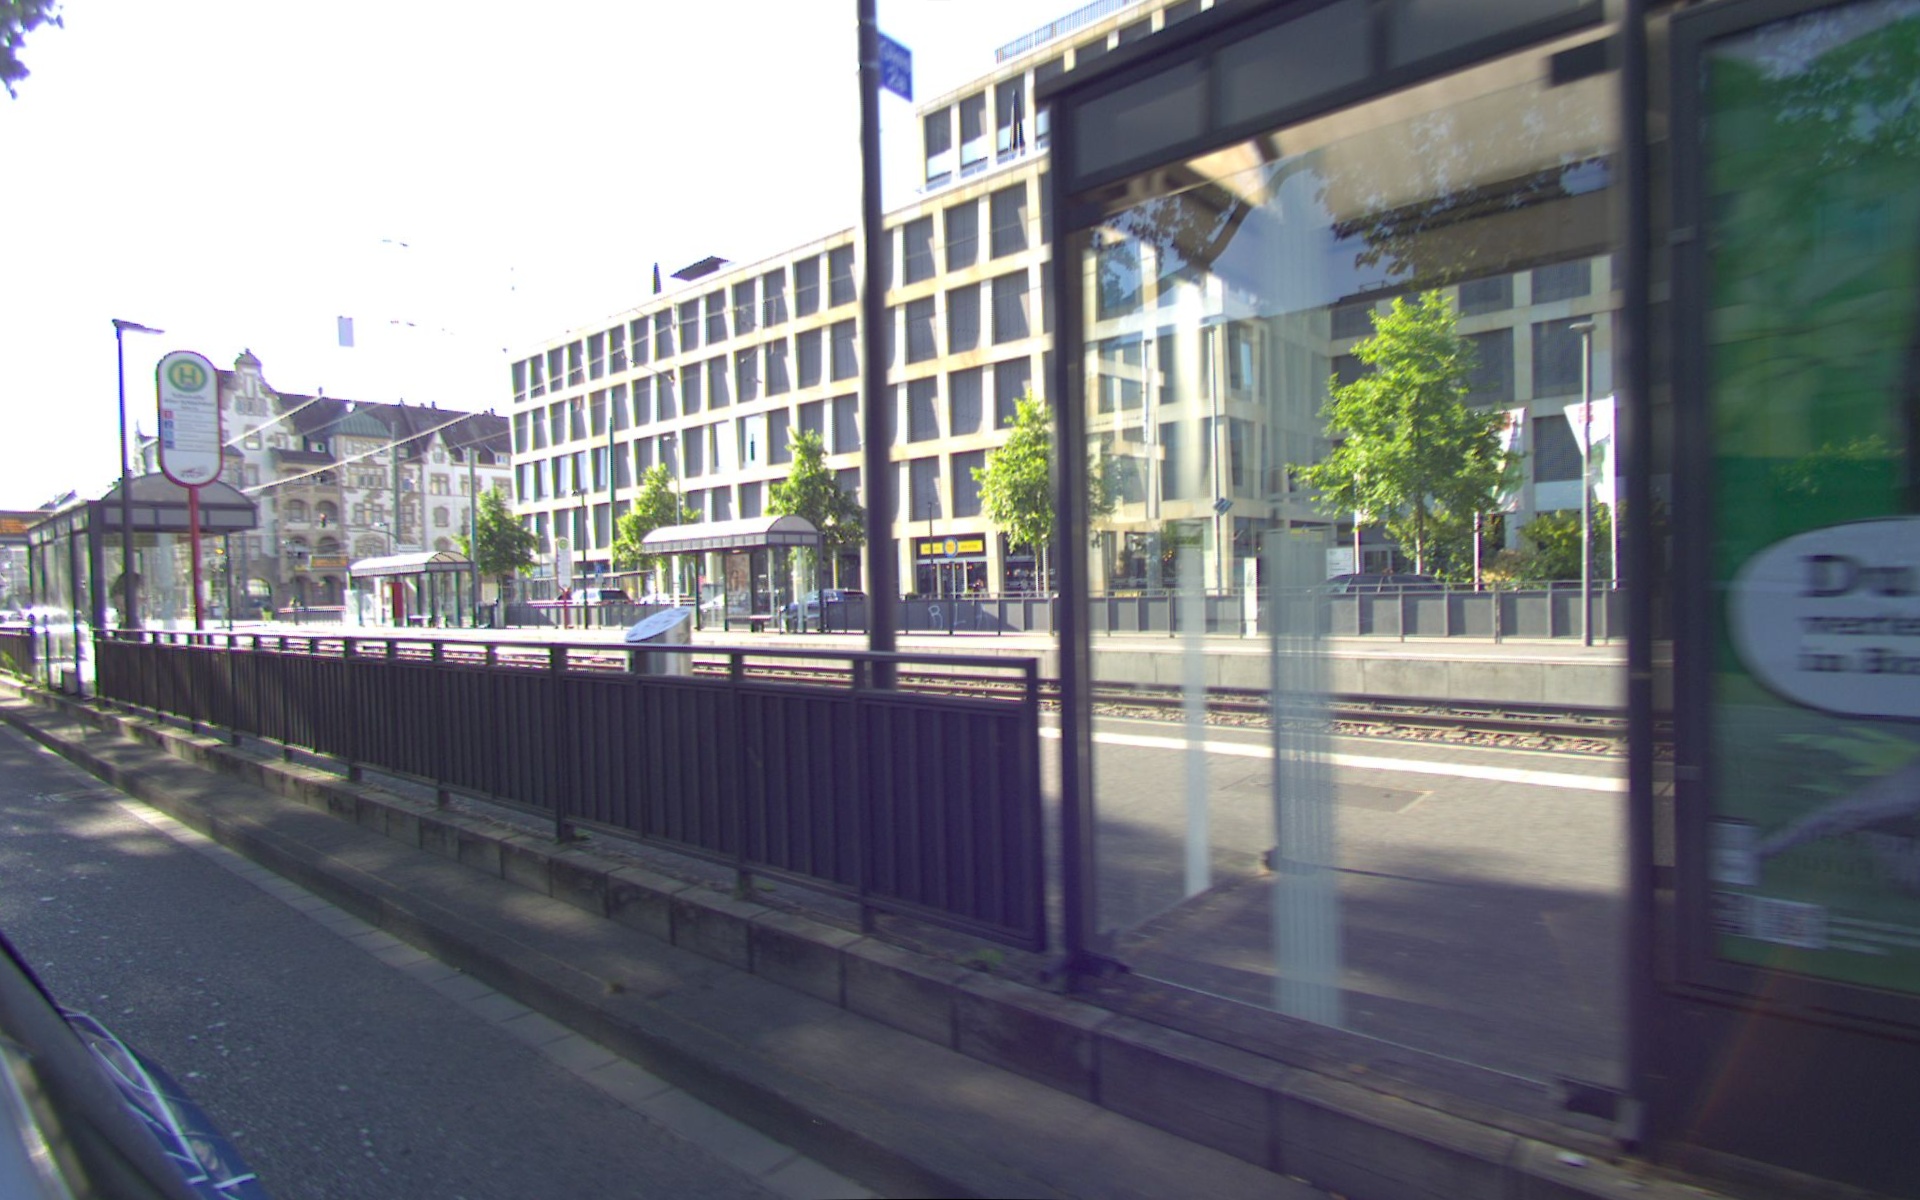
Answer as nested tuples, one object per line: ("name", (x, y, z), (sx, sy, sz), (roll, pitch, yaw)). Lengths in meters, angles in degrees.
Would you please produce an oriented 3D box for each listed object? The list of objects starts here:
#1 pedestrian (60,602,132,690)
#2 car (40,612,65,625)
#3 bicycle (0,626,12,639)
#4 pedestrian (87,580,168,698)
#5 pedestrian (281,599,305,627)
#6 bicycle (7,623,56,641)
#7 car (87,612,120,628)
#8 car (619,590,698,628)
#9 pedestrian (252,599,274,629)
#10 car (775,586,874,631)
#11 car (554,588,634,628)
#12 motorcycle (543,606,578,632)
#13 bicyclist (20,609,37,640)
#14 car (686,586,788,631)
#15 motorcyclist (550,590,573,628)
("pedestrian", (-13.185, 0.690, 15.451), (0.524, 1.283, 0.734), (-1, 1, 40))
("car", (-112.860, 2.320, 125.822), (3.998, 1.536, 1.719), (-1, 3, 41))
("bicycle", (-50.114, 1.721, 52.191), (1.700, 0.613, 0.512), (-3, 2, -40))
("pedestrian", (-11.175, 0.506, 13.595), (0.666, 1.520, 0.737), (-1, 0, 44))
("pedestrian", (-40.687, 0.816, 61.746), (0.792, 1.656, 0.924), (-2, 1, 28))
("bicycle", (-49.374, 1.691, 53.838), (1.861, 0.884, 0.608), (-2, 1, -41))
("car", (-90.963, 2.141, 107.523), (3.992, 1.536, 1.722), (-1, 2, 36))
("car", (-13.230, 0.409, 44.327), (3.649, 1.573, 1.627), (-1, 1, 42))
("pedestrian", (-39.390, 0.766, 57.176), (0.933, 1.656, 0.785), (-1, 1, 42))
("car", (-5.001, 0.315, 37.104), (3.599, 1.523, 1.627), (-1, 1, 42))
("car", (-17.461, 0.396, 48.228), (3.999, 1.782, 1.898), (-1, 1, 42))
("motorcycle", (-16.625, 0.780, 42.089), (1.841, 1.029, 0.598), (-1, 1, 42))
("bicyclist", (-49.465, 1.290, 53.755), (0.620, 1.630, 0.685), (-2, 1, -41))
("car", (-8.954, 0.329, 40.499), (3.999, 1.675, 1.973), (-1, 1, 42))
("motorcyclist", (-16.548, 0.381, 41.985), (0.764, 1.545, 0.569), (-1, 1, 42))
